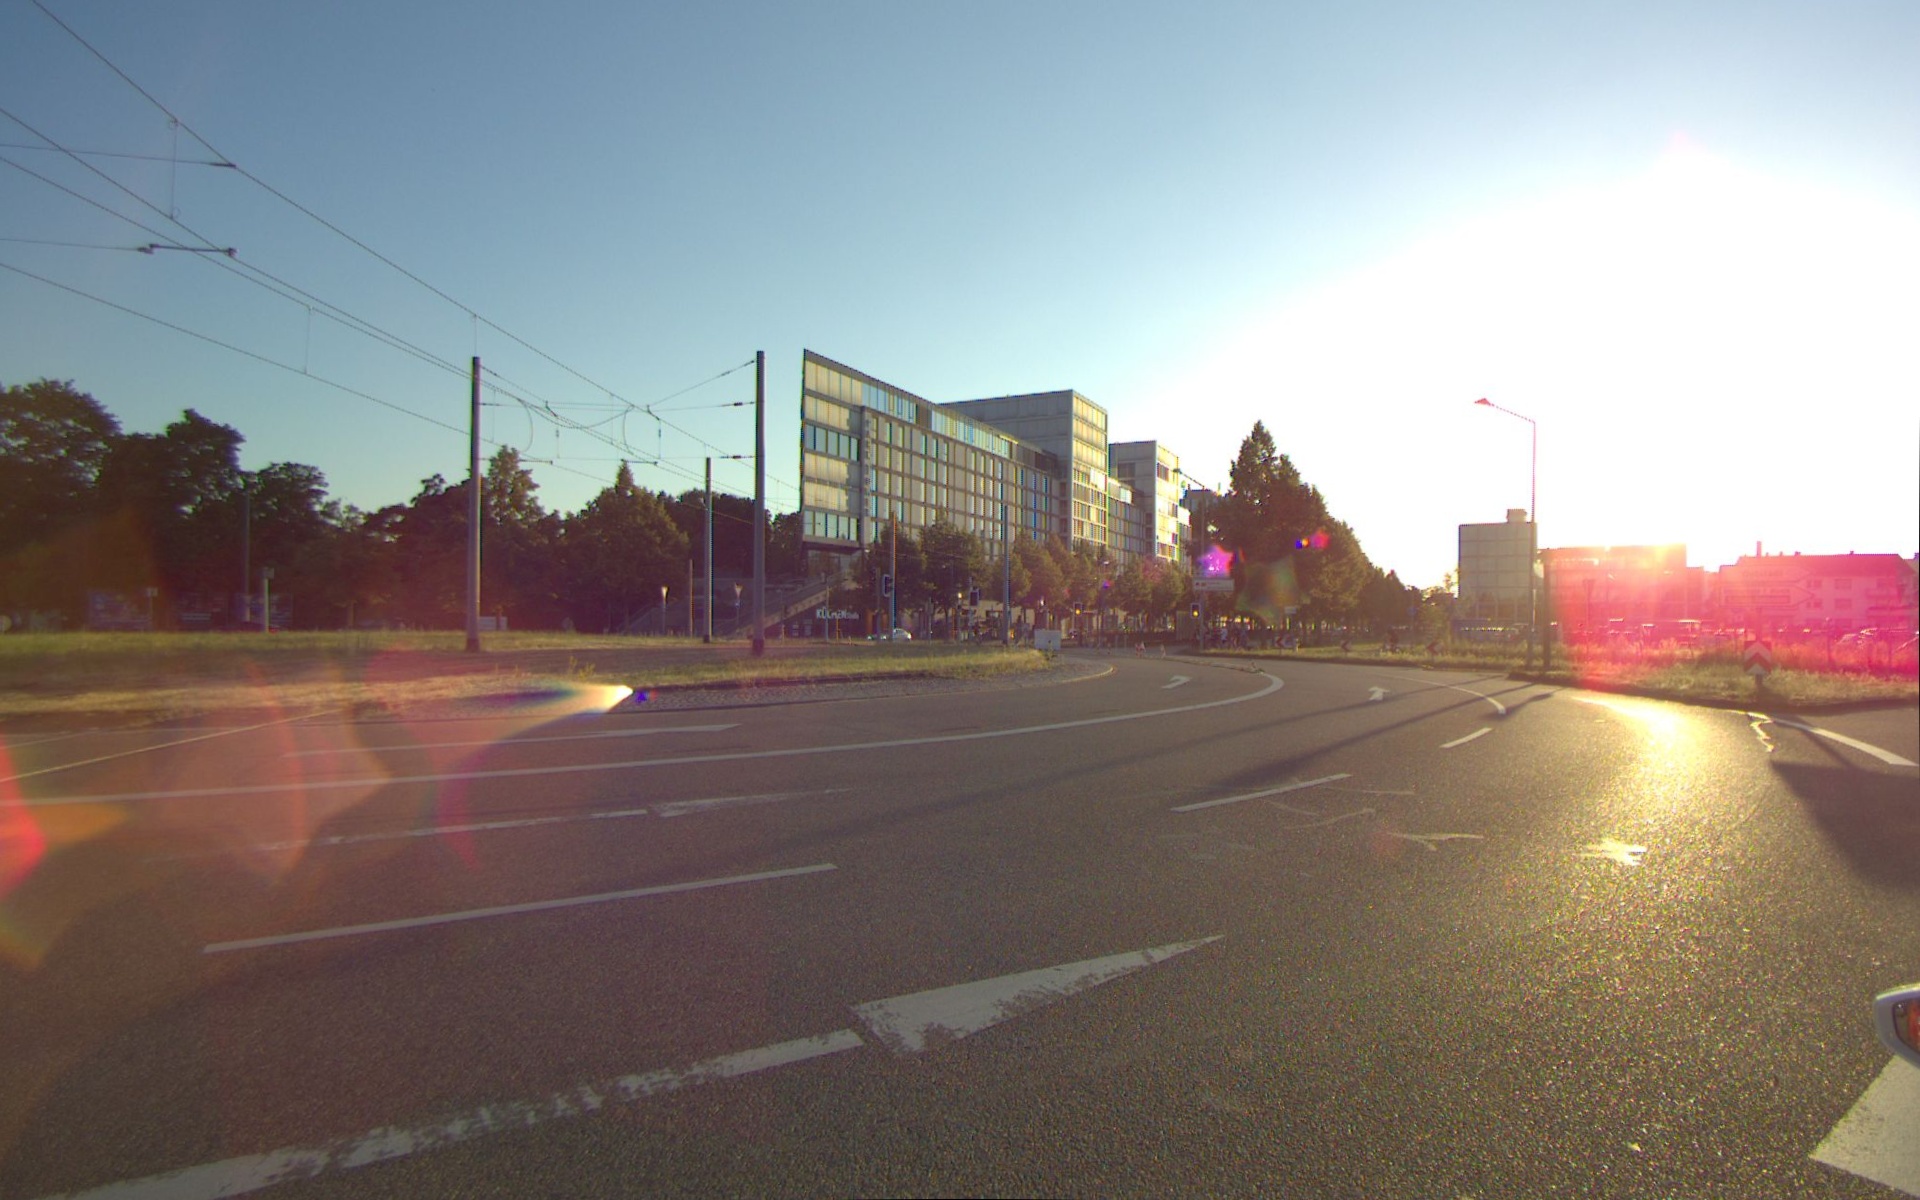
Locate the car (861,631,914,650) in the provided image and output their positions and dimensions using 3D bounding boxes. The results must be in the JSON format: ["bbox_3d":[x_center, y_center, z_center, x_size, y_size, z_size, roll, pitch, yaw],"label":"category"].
[{"bbox_3d":[-6.166,3.427,85.894,1.964,1.565,5.194,0,-2,29],"label":"car"}]

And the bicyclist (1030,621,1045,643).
[{"bbox_3d":[5.490,2.279,71.034,0.959,1.545,0.755,0,-1,15],"label":"bicyclist"}]

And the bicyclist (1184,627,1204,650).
[{"bbox_3d":[14.664,2.391,62.991,0.965,1.412,0.750,0,-1,44],"label":"bicyclist"}]

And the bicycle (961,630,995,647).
[{"bbox_3d":[1.283,2.761,72.633,2.361,1.182,0.755,0,-1,18],"label":"bicycle"}]

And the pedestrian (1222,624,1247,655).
[{"bbox_3d":[16.695,2.369,61.074,0.972,1.851,1.148,2,-1,-41],"label":"pedestrian"}]

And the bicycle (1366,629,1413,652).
[{"bbox_3d":[22.645,2.132,52.989,0.744,1.182,2.395,1,-1,-25],"label":"bicycle"}]

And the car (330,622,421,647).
[{"bbox_3d":[-35.064,2.070,60.346,4.240,1.451,1.943,0,-1,-7],"label":"car"}]

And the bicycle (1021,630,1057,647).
[{"bbox_3d":[5.580,2.708,70.957,2.361,1.182,0.755,0,-1,15],"label":"bicycle"}]

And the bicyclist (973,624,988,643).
[{"bbox_3d":[1.486,2.416,72.573,0.862,1.411,0.755,0,-1,18],"label":"bicyclist"}]

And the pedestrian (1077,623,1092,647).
[{"bbox_3d":[8.953,2.505,72.096,0.871,1.730,0.794,0,-1,21],"label":"pedestrian"}]

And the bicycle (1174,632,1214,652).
[{"bbox_3d":[14.665,2.642,63.011,2.377,1.182,0.750,0,-2,45],"label":"bicycle"}]

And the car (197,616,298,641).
[{"bbox_3d":[-42.322,1.684,59.722,4.508,1.451,1.943,0,-1,-6],"label":"car"}]

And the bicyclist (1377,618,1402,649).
[{"bbox_3d":[22.643,1.768,52.971,0.744,1.634,0.972,1,-1,-25],"label":"bicyclist"}]
